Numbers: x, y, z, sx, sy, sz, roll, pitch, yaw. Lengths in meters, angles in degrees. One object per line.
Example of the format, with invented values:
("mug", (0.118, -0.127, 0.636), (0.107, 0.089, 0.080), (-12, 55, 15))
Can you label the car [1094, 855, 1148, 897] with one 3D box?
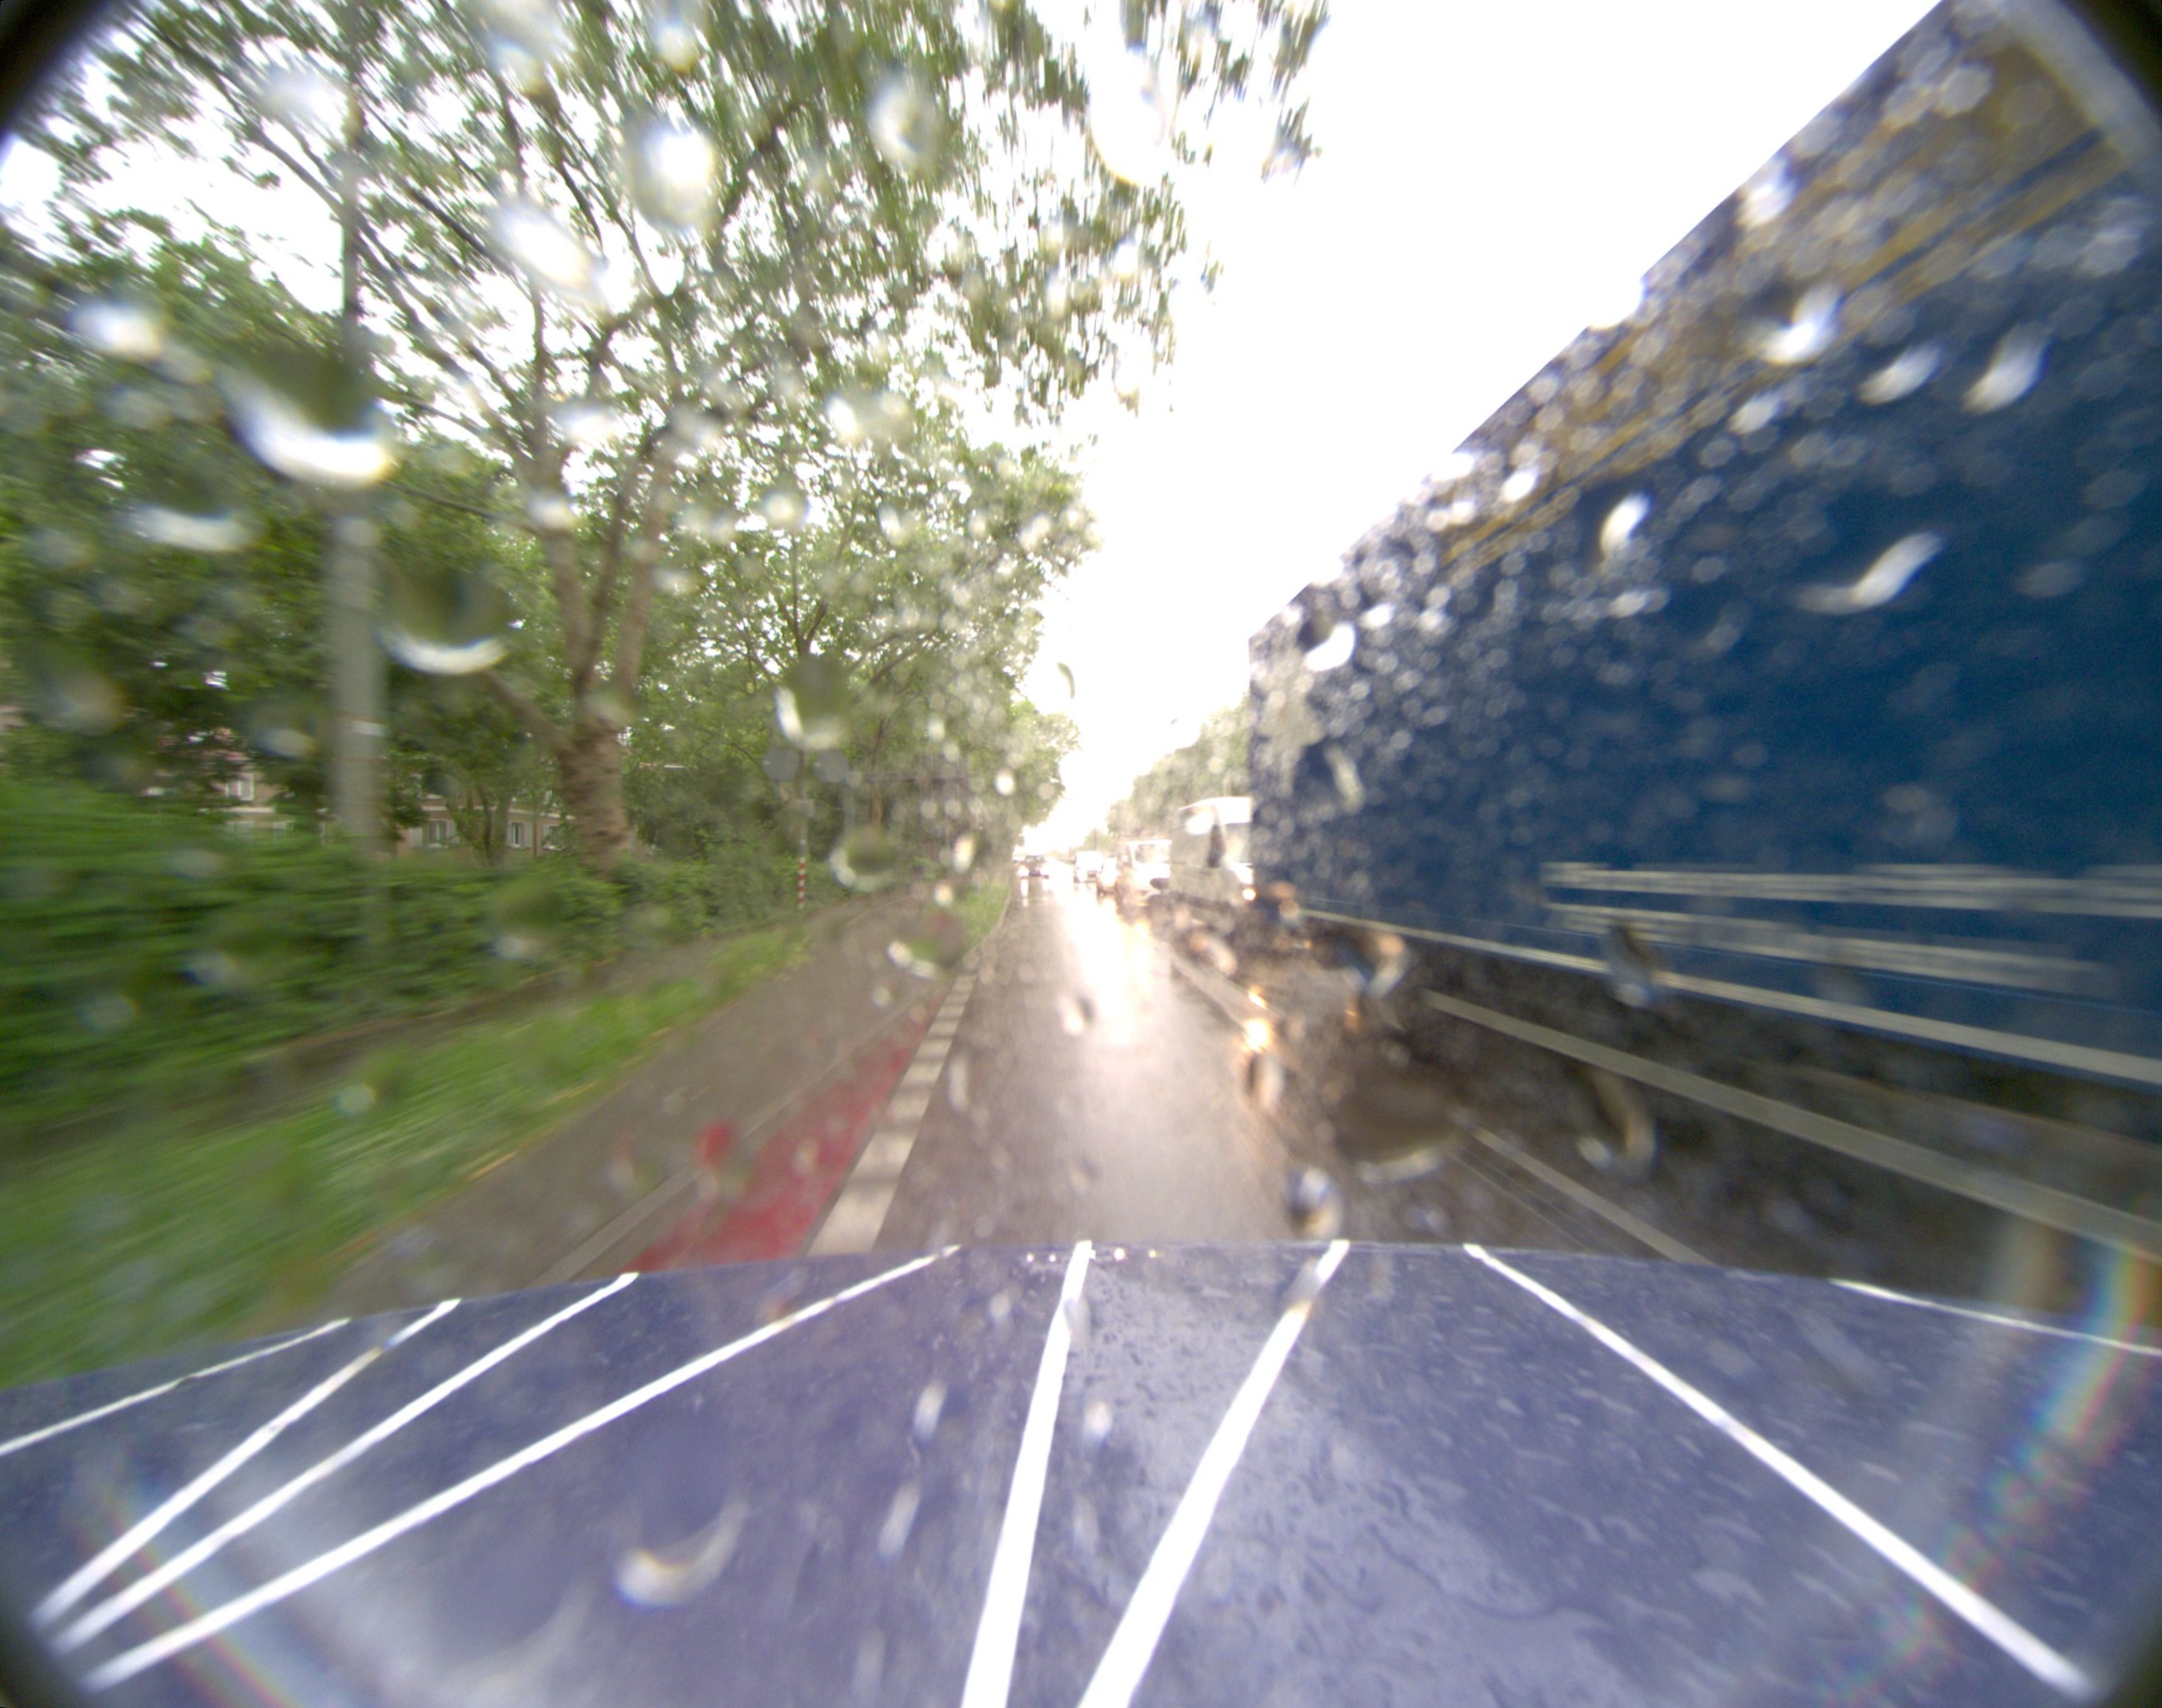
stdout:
("car", (1.577, 0.827, 30.834), (1.730, 1.470, 3.803), (-2, 1, -3))

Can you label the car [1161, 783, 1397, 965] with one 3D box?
("car", (3.203, 0.229, 14.030), (2.336, 2.543, 6.110), (-2, 1, -4))

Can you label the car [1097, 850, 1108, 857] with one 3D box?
("car", (4.880, -0.116, 173.448), (2.020, 1.648, 4.392), (0, 1, -6))

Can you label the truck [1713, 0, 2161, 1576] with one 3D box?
("truck", (3.721, -0.373, 0.781), (2.588, 3.881, 3.998), (-2, 0, -5))

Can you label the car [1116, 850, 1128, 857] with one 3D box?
("car", (8.982, -0.200, 167.945), (2.039, 1.543, 4.382), (0, 1, -6))

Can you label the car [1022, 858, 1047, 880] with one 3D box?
("car", (-3.296, 1.057, 54.308), (1.727, 1.425, 3.850), (-2, 1, -3))

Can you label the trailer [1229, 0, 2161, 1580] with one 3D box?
("trailer", (3.355, -0.373, 4.854), (2.598, 3.877, 7.632), (-2, 0, -5))

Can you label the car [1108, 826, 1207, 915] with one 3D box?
("car", (2.109, 0.380, 22.460), (1.999, 2.249, 5.285), (-2, 1, -4))

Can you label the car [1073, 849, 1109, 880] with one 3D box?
("car", (0.526, 0.556, 43.584), (1.870, 1.614, 4.261), (-2, 1, -2))
